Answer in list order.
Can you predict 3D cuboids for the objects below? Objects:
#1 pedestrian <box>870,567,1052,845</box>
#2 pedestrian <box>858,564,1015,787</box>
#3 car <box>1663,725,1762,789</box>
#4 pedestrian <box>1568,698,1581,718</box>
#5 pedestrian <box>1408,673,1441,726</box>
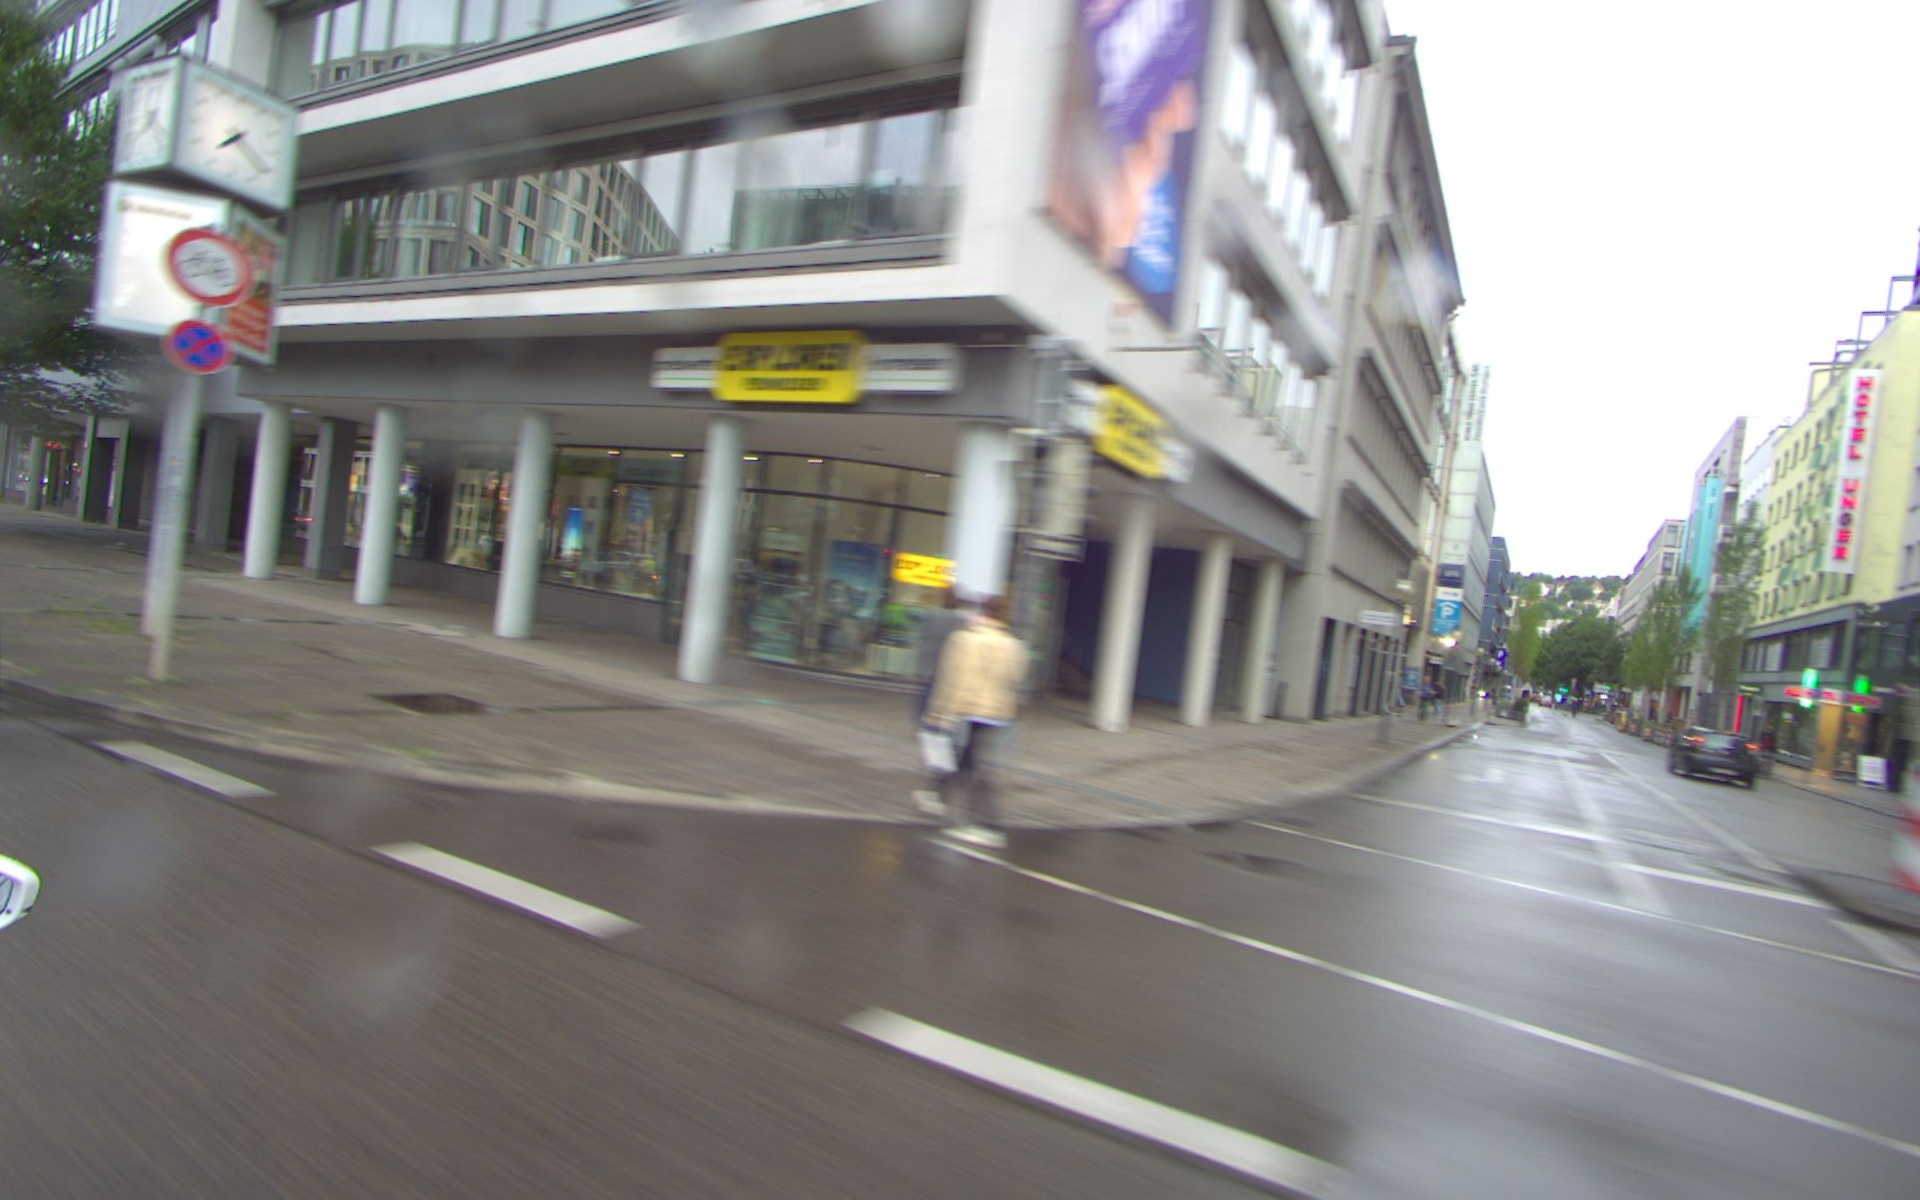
[{"bbox_3d":[0.007,0.737,7.257,0.866,1.803,0.640,8,0,36],"label":"pedestrian"},{"bbox_3d":[-0.203,0.667,9.043,0.880,1.803,0.792,8,0,33],"label":"pedestrian"},{"bbox_3d":[21.301,4.386,28.614,1.647,1.406,3.996,6,-2,30],"label":"car"},{"bbox_3d":[61.045,10.684,99.895,0.945,1.854,1.039,6,-1,32],"label":"pedestrian"},{"bbox_3d":[17.859,3.820,38.671,0.944,1.854,1.040,7,-1,26],"label":"pedestrian"}]
